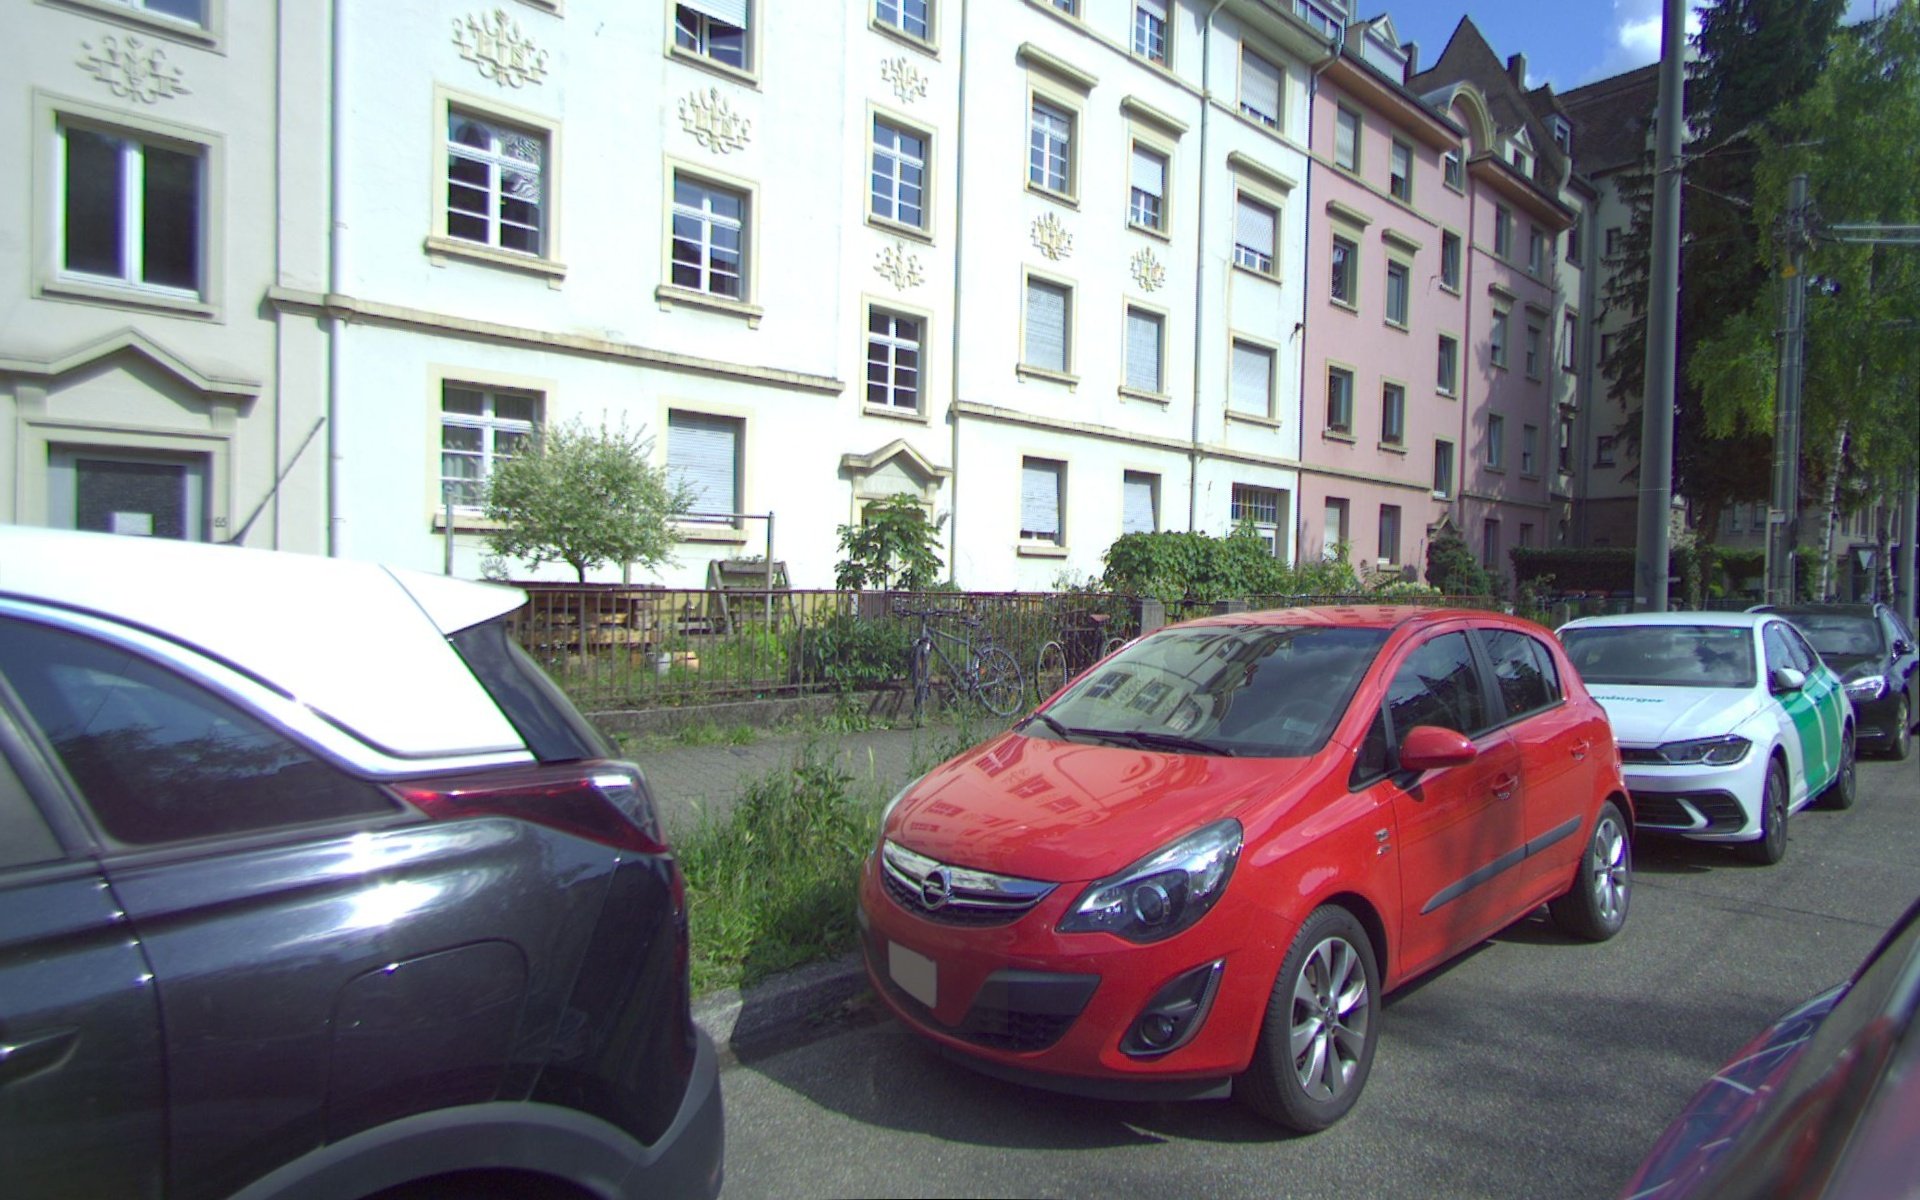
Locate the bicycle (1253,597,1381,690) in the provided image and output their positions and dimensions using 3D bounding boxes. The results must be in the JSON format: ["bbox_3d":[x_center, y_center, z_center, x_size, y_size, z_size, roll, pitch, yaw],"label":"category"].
[{"bbox_3d":[4.607,0.522,12.965,2.143,1.090,0.472,0,2,-39],"label":"bicycle"}]

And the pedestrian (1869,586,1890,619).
[{"bbox_3d":[53.151,0.136,58.504,0.732,1.865,0.797,2,1,35],"label":"pedestrian"}]

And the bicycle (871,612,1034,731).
[{"bbox_3d":[-0.034,0.596,9.003,1.558,0.950,0.388,0,1,-41],"label":"bicycle"}]

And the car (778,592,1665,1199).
[{"bbox_3d":[1.324,0.733,4.106,3.776,1.471,1.591,0,-2,-41],"label":"car"}]

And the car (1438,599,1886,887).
[{"bbox_3d":[5.057,0.756,7.093,3.849,1.471,1.622,0,-2,-41],"label":"car"}]

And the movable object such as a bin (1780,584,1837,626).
[{"bbox_3d":[32.587,0.180,38.854,1.964,1.510,1.305,0,2,-40],"label":"movable object such as a bin"}]

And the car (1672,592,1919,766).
[{"bbox_3d":[9.563,0.713,11.140,4.447,1.540,1.794,0,-1,-41],"label":"car"}]

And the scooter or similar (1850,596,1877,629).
[{"bbox_3d":[34.857,0.483,39.040,1.166,1.193,0.522,0,4,-39],"label":"scooter or similar"}]

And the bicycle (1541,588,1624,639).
[{"bbox_3d":[16.172,0.325,26.331,0.413,1.235,1.776,1,2,-41],"label":"bicycle"}]

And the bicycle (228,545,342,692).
[{"bbox_3d":[-6.513,0.128,9.722,0.661,1.267,1.976,0,1,-41],"label":"bicycle"}]

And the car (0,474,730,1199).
[{"bbox_3d":[-2.219,0.675,0.894,3.694,1.599,1.495,0,-1,-42],"label":"car"}]

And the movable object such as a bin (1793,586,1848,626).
[{"bbox_3d":[34.191,0.215,40.226,1.964,1.510,1.305,0,2,-40],"label":"movable object such as a bin"}]

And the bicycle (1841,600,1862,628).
[{"bbox_3d":[33.977,0.538,38.569,1.455,1.034,0.350,0,4,-41],"label":"bicycle"}]

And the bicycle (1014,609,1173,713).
[{"bbox_3d":[1.398,0.581,10.282,1.974,0.955,0.378,0,1,-41],"label":"bicycle"}]

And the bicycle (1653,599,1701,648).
[{"bbox_3d":[16.380,0.525,23.115,1.746,1.066,0.421,0,2,-40],"label":"bicycle"}]
